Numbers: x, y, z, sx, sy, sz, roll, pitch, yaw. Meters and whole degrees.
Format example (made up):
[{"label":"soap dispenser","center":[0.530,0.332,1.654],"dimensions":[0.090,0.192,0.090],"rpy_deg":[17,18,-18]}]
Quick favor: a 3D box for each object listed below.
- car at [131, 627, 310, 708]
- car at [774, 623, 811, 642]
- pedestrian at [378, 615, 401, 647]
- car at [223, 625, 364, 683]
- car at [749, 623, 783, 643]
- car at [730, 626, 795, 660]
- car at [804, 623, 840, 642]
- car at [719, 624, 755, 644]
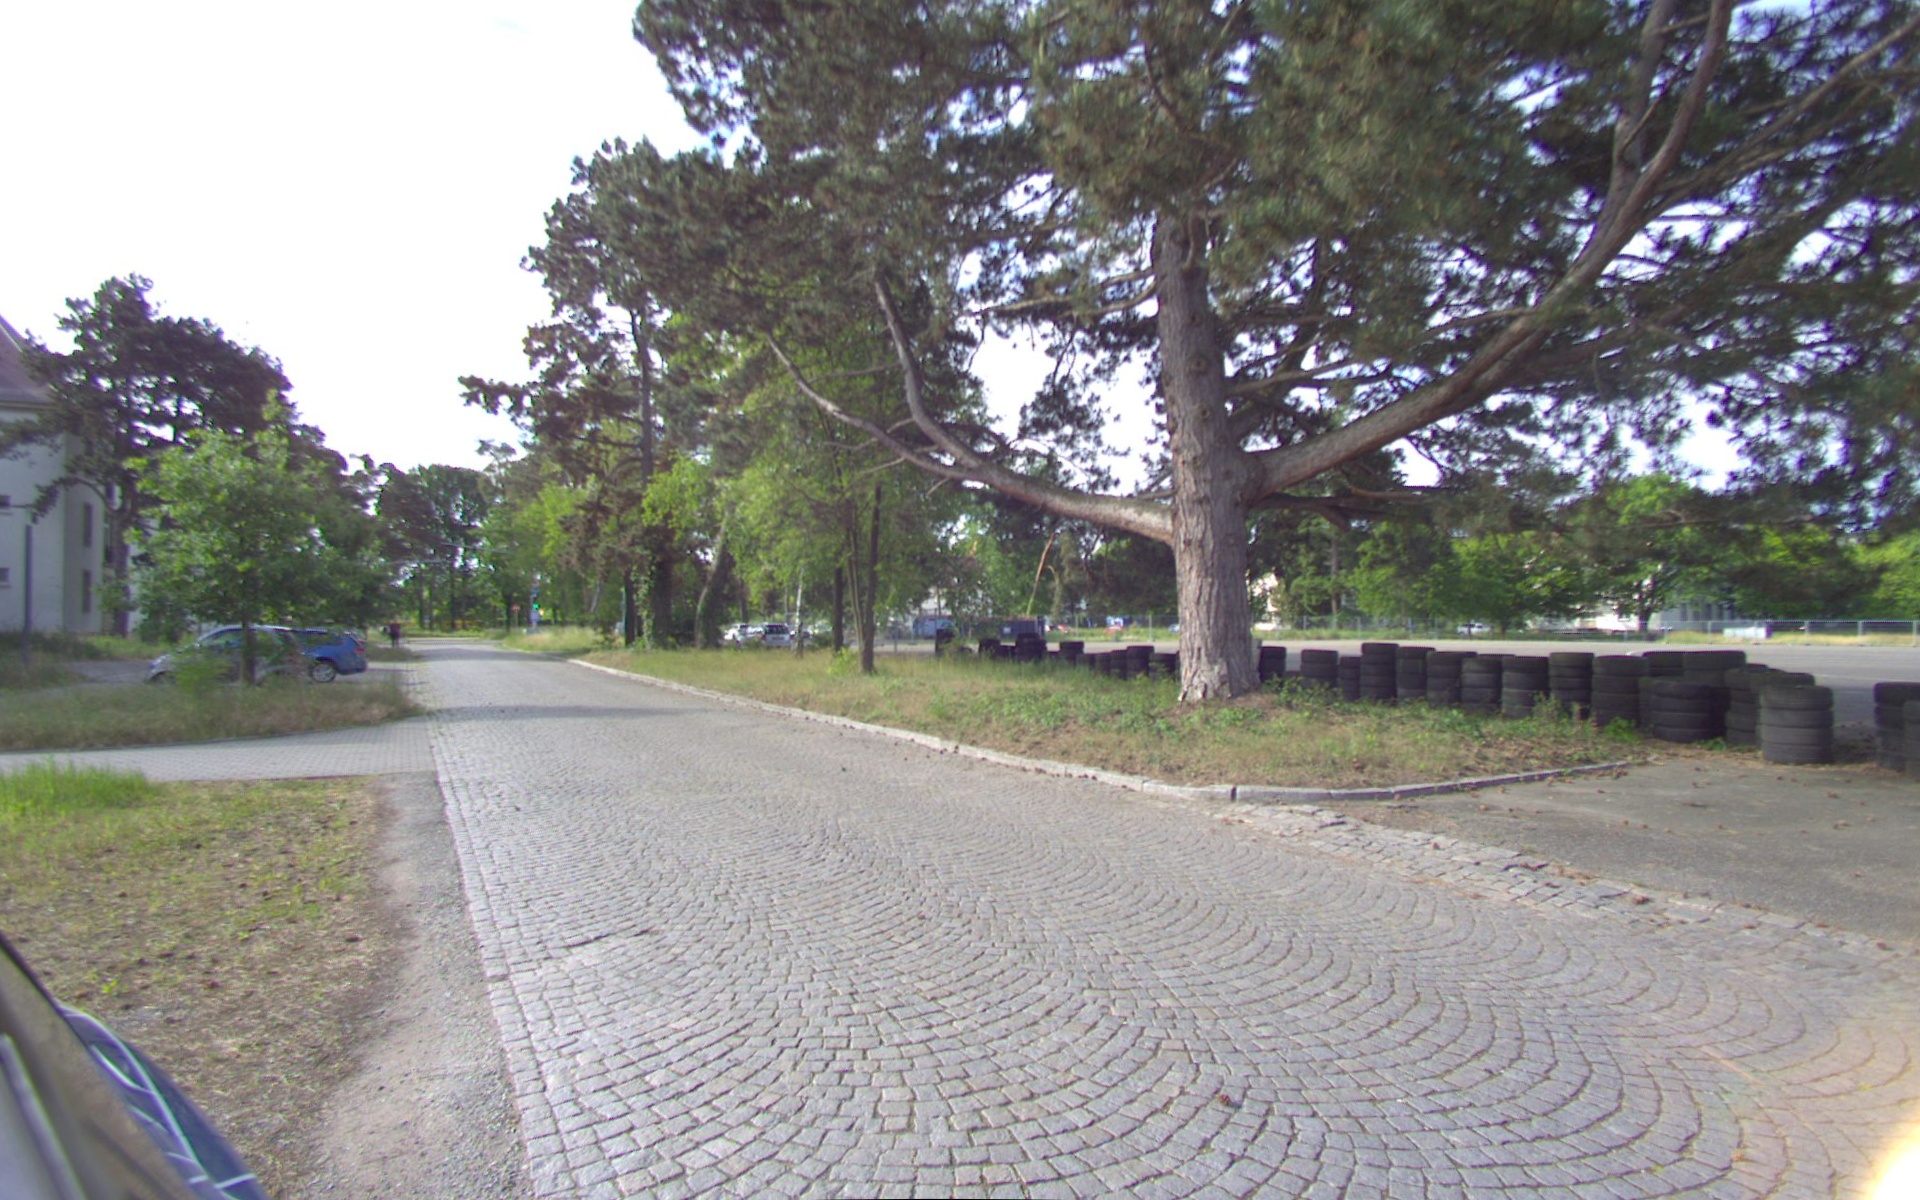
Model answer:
[{"label":"car","center":[-15.043,1.334,20.733],"dimensions":[2.721,1.561,1.430],"rpy_deg":[0,-2,-25]},{"label":"car","center":[-14.795,2.861,89.216],"dimensions":[1.965,1.630,4.012],"rpy_deg":[0,-2,-29]},{"label":"pedestrian","center":[-33.355,1.824,59.168],"dimensions":[0.944,1.858,0.957],"rpy_deg":[1,-2,-43]},{"label":"car","center":[-18.033,1.467,27.473],"dimensions":[3.042,1.468,1.496],"rpy_deg":[3,-3,-33]},{"label":"car","center":[-16.847,2.854,87.764],"dimensions":[1.795,1.630,4.013],"rpy_deg":[0,-2,-27]},{"label":"car","center":[-9.538,2.041,48.641],"dimensions":[1.860,1.553,4.012],"rpy_deg":[1,-2,-30]},{"label":"car","center":[-12.405,2.907,90.874],"dimensions":[1.965,1.630,4.012],"rpy_deg":[0,-2,-29]},{"label":"car","center":[-19.055,2.856,86.259],"dimensions":[1.965,1.630,4.012],"rpy_deg":[0,-2,-29]}]
